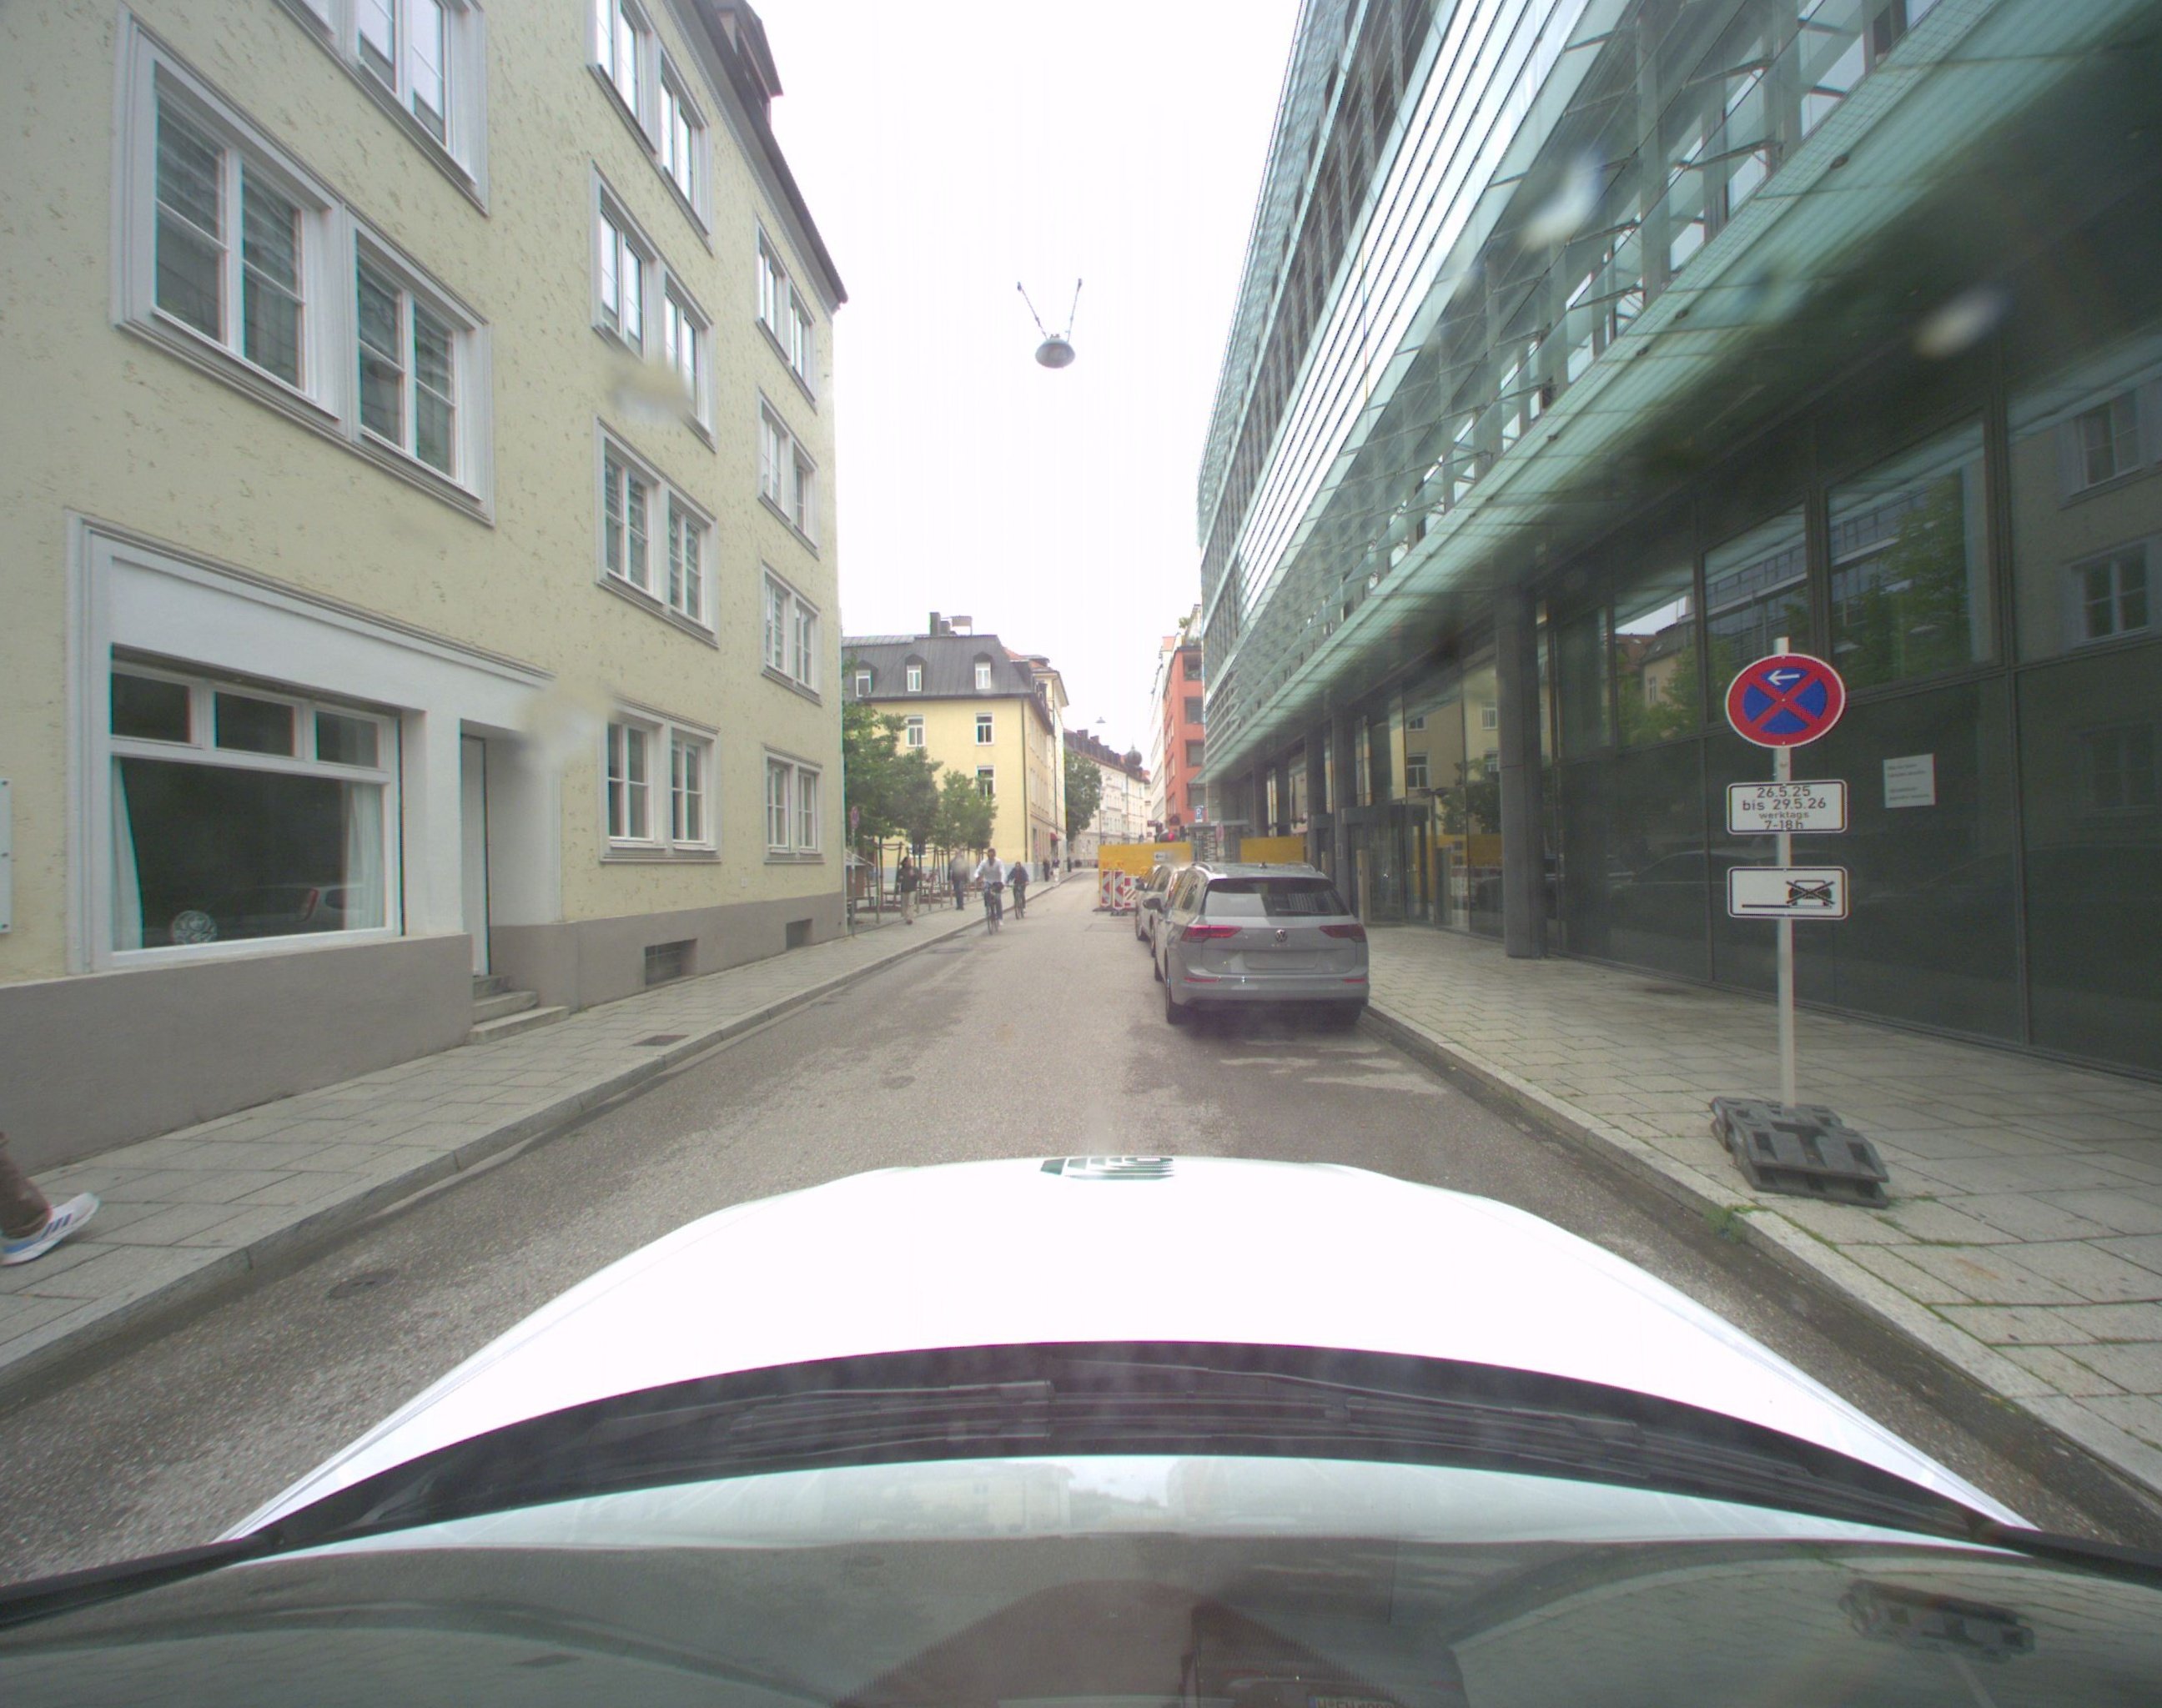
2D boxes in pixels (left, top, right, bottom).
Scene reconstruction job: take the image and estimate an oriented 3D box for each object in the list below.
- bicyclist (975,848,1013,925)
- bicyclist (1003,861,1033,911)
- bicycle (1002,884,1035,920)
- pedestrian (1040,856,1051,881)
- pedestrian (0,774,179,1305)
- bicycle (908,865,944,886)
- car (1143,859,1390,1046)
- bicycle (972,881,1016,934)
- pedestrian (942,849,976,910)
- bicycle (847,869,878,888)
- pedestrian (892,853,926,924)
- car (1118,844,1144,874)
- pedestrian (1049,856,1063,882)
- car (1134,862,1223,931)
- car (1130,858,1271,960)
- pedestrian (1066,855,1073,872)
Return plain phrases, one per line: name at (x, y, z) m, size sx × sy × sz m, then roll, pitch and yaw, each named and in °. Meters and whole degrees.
bicyclist at (-1.926, 0.708, 18.089) m, size 0.657 × 1.643 × 0.895 m, roll -2°, pitch -1°, yaw 2°
bicyclist at (-1.760, 0.889, 22.906) m, size 0.705 × 1.371 × 0.813 m, roll -2°, pitch -1°, yaw 2°
bicycle at (-1.746, 1.328, 22.909) m, size 0.705 × 0.905 × 1.810 m, roll -2°, pitch -1°, yaw 2°
pedestrian at (-2.371, 0.962, 54.453) m, size 0.668 × 1.648 × 0.762 m, roll -1°, pitch -1°, yaw 1°
pedestrian at (-4.152, 0.648, 2.847) m, size 0.754 × 1.854 × 1.077 m, roll 0°, pitch -1°, yaw 2°
bicycle at (-9.217, 1.296, 48.384) m, size 2.031 × 1.198 × 0.571 m, roll -1°, pitch -1°, yaw 9°
car at (1.624, 0.795, 8.589) m, size 1.701 × 1.432 × 4.331 m, roll -2°, pitch -1°, yaw 2°
bicycle at (-1.906, 1.166, 18.142) m, size 0.659 × 1.039 × 2.005 m, roll -2°, pitch -1°, yaw 2°
pedestrian at (-3.858, 0.789, 25.916) m, size 0.864 × 1.881 × 1.135 m, roll -1°, pitch -1°, yaw 1°
bicycle at (-12.957, 1.452, 48.208) m, size 1.647 × 1.069 × 0.599 m, roll -1°, pitch -1°, yaw 6°
pedestrian at (-4.178, 0.831, 19.837) m, size 0.645 × 1.676 × 0.724 m, roll -1°, pitch -1°, yaw 1°
car at (4.327, 0.411, 71.154) m, size 1.986 × 2.537 × 4.976 m, roll -1°, pitch 0°, yaw 1°
pedestrian at (-1.642, 0.984, 54.062) m, size 0.836 × 1.700 × 0.803 m, roll -1°, pitch -1°, yaw 1°
car at (2.158, 0.902, 19.036) m, size 1.701 × 1.414 × 4.511 m, roll 0°, pitch -1°, yaw 2°
car at (1.855, 0.815, 13.881) m, size 1.702 × 1.467 × 4.235 m, roll 0°, pitch -1°, yaw -1°
pedestrian at (-1.176, 0.978, 84.051) m, size 0.632 × 1.675 × 0.518 m, roll -1°, pitch -1°, yaw 2°
